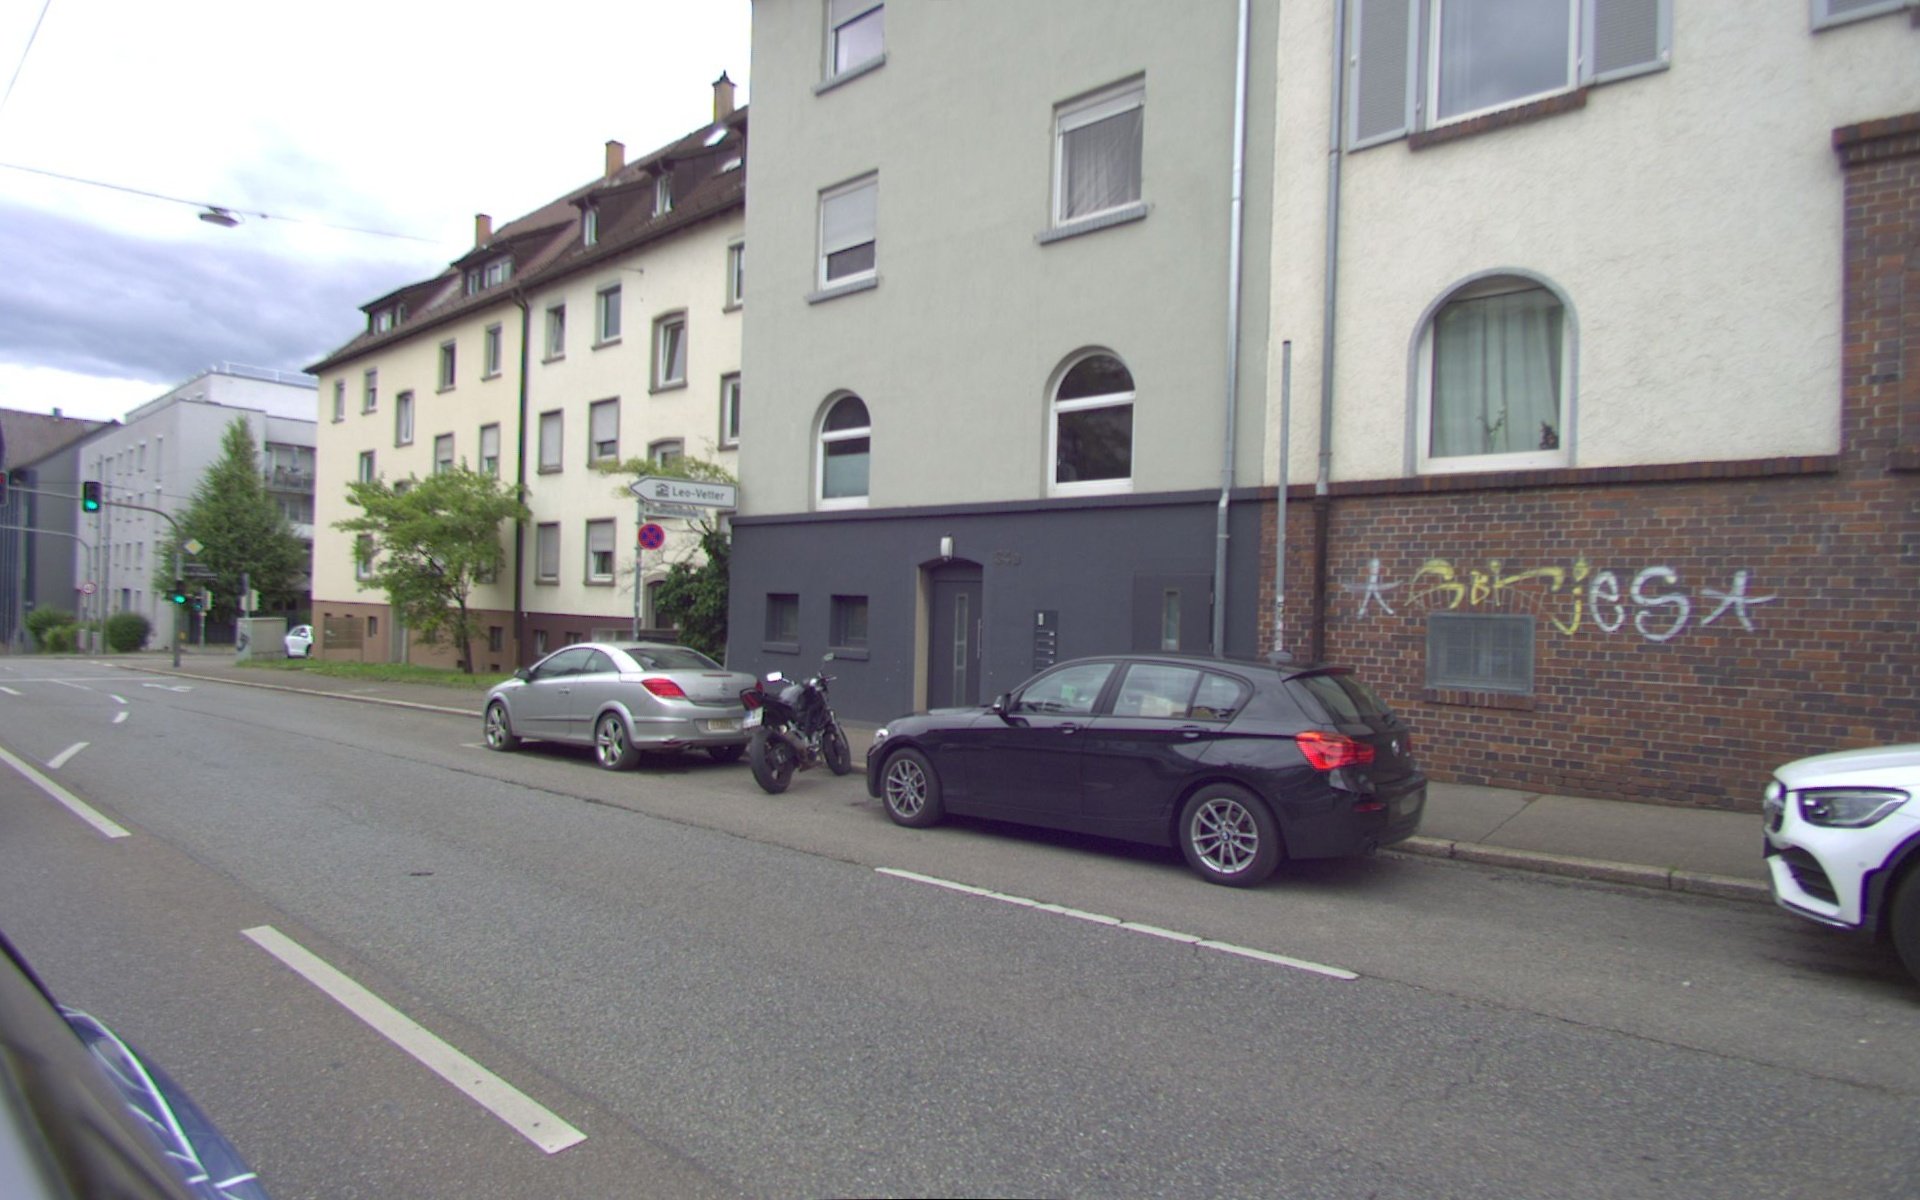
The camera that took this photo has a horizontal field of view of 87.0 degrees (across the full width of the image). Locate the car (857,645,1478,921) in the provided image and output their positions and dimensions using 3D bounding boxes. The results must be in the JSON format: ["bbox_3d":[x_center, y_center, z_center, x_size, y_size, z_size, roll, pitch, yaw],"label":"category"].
[{"bbox_3d":[1.305,1.069,7.451,4.189,1.440,1.709,-2,-3,41],"label":"car"}]

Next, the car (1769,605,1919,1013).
[{"bbox_3d":[5.865,0.829,3.571,4.640,1.634,1.826,-2,-3,40],"label":"car"}]

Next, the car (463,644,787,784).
[{"bbox_3d":[-4.178,1.240,12.282,4.333,1.384,1.709,-2,-3,40],"label":"car"}]

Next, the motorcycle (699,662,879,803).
[{"bbox_3d":[-1.645,1.263,10.187,0.802,1.245,2.031,-1,-4,23],"label":"motorcycle"}]

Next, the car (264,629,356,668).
[{"bbox_3d":[-27.117,2.055,42.204,4.252,1.549,1.797,-3,-5,37],"label":"car"}]
